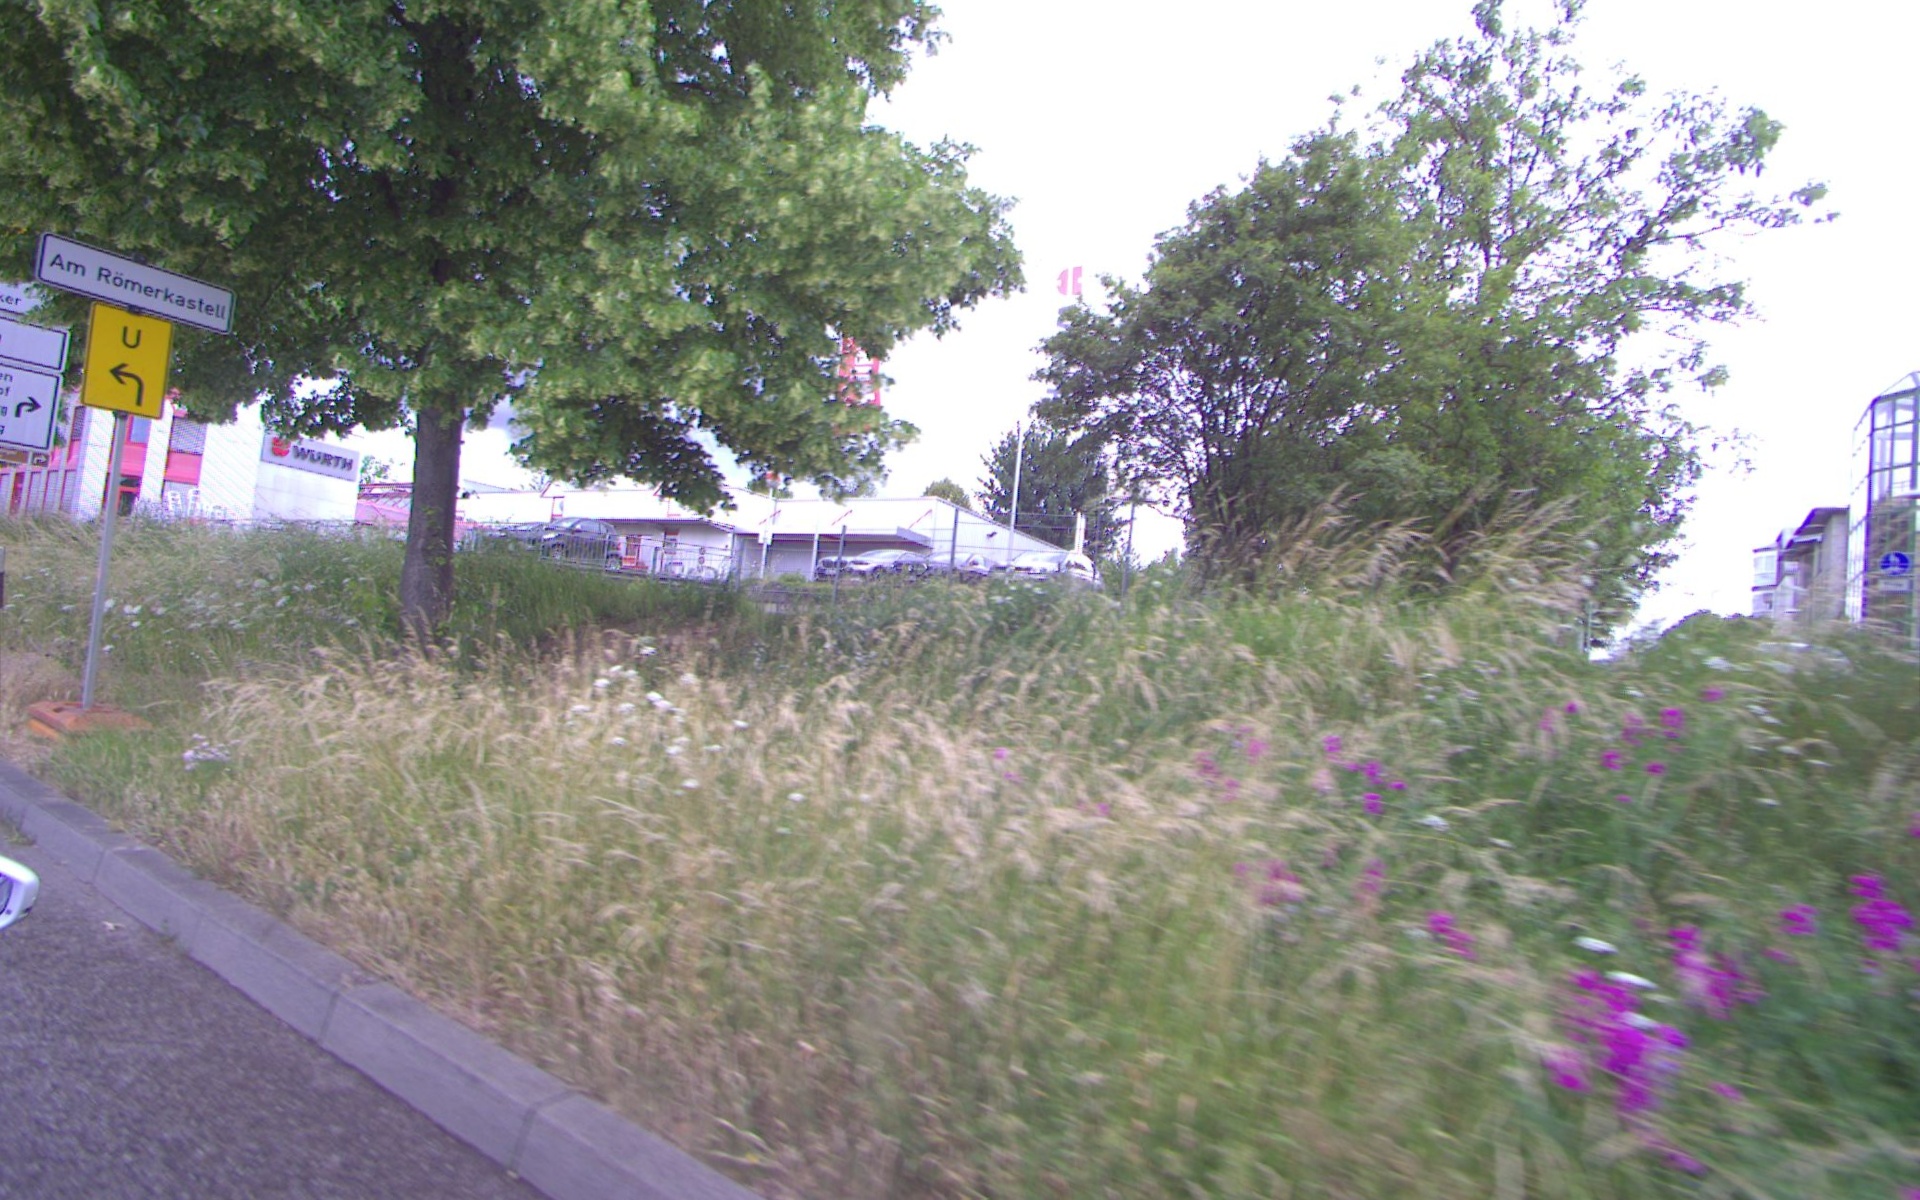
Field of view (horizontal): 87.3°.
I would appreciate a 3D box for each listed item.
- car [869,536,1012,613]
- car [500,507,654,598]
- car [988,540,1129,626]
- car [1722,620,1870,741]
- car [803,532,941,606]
[{"bbox_3d":[-0.451,-0.646,26.940,1.728,1.383,3.932,6,-4,35],"label":"car"},{"bbox_3d":[-11.136,-1.345,29.502,1.617,1.980,3.762,6,-4,35],"label":"car"},{"bbox_3d":[2.571,-0.392,25.516,1.728,1.498,3.933,6,-4,35],"label":"car"},{"bbox_3d":[13.281,1.340,16.132,1.554,1.526,3.361,6,-3,38],"label":"car"},{"bbox_3d":[-2.404,-0.838,28.238,1.728,1.378,3.762,6,-4,35],"label":"car"}]
